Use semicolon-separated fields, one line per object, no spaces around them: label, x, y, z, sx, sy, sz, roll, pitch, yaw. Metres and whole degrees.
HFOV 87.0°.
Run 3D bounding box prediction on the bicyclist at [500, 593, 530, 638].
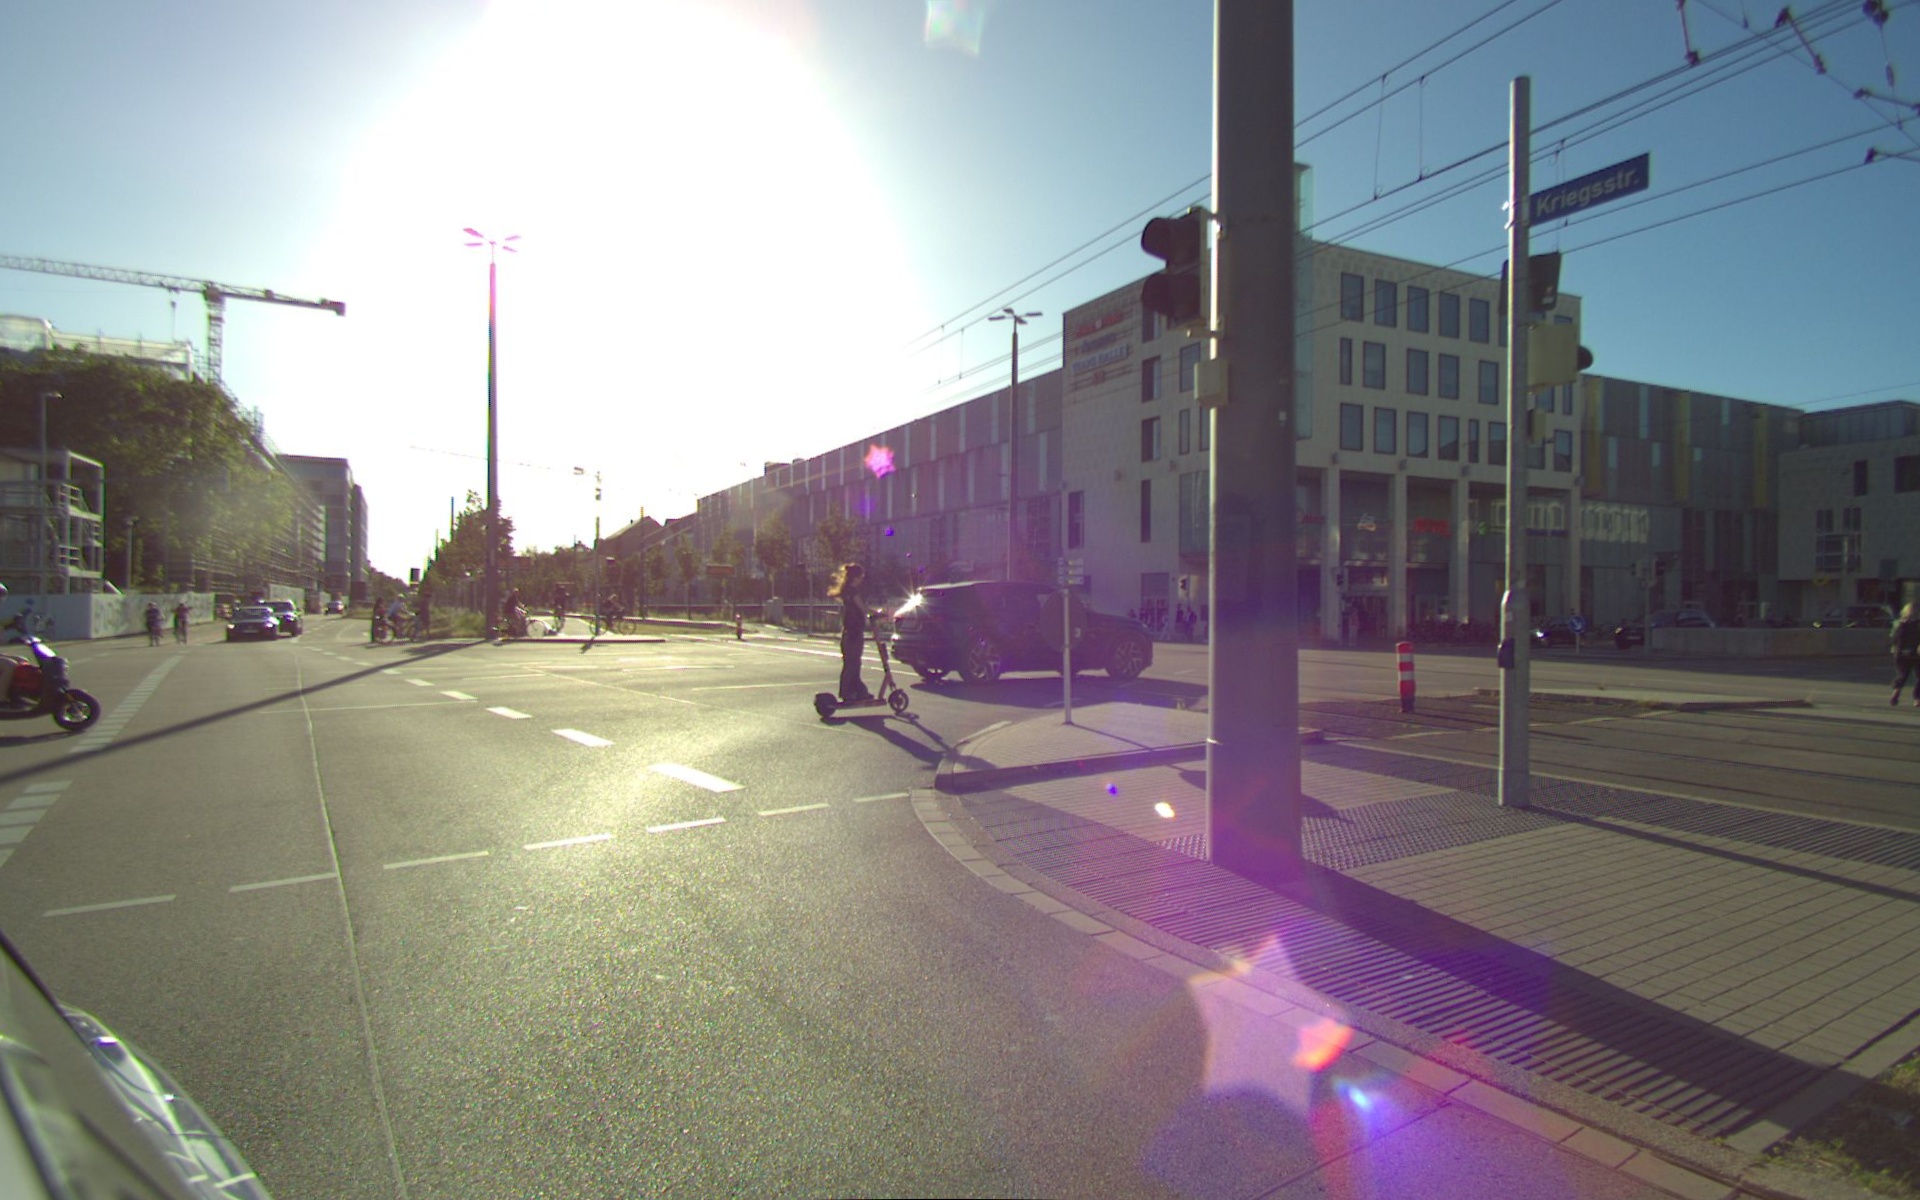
bicyclist;-15.702;0.524;35.719;0.925;1.556;0.651;0;0;-28

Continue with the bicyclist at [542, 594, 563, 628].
bicyclist;-18.445;0.504;45.808;0.743;1.516;0.619;0;0;-34

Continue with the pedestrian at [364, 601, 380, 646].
pedestrian;-21.096;0.829;36.299;0.443;1.578;0.521;0;0;-24

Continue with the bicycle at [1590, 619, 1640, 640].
bicycle;37.704;1.676;58.333;0.649;1.119;2.484;0;0;-22

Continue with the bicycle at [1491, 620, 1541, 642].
bicycle;29.698;1.630;54.097;0.583;1.119;2.484;0;0;-22

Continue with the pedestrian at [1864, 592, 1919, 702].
pedestrian;14.066;0.666;14.877;0.908;1.561;0.901;-2;0;-30

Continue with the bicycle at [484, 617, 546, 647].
bicycle;-15.694;1.110;35.710;1.944;1.004;0.651;-1;0;-28

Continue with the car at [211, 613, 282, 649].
car;-30.121;1.280;42.851;1.965;1.386;4.013;-1;0;-28

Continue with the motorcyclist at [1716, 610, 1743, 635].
motorcyclist;46.738;1.351;61.482;0.900;1.482;1.043;0;1;-30

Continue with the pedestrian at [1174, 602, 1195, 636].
pedestrian;10.510;0.888;47.383;0.937;1.583;0.837;0;0;17

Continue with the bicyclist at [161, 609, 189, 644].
bicyclist;-30.849;1.038;39.784;0.792;1.307;0.779;-1;0;-32

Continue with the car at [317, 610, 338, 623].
car;-68.818;1.770;110.146;1.755;1.335;4.013;0;1;-29

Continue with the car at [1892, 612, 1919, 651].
car;44.784;1.414;45.545;5.391;1.705;2.188;1;0;-24

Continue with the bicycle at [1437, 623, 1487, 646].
bicycle;25.973;1.767;52.415;0.672;1.119;2.484;0;0;-21

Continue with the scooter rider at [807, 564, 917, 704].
scooter rider;-1.145;0.377;11.776;1.098;1.555;0.646;0;1;-27

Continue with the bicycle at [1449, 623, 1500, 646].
bicycle;26.738;1.757;52.645;0.672;1.119;2.484;0;0;-22

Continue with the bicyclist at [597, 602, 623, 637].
bicyclist;-13.896;0.754;40.180;0.827;1.367;0.808;-1;0;-32

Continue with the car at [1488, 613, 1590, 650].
car;26.350;1.383;46.030;4.219;1.593;1.950;0;0;-25

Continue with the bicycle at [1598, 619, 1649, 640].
bicycle;38.350;1.688;58.529;0.649;1.119;2.484;0;0;-22

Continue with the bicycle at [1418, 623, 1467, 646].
bicycle;24.726;1.761;51.917;0.672;1.119;2.484;0;0;-23

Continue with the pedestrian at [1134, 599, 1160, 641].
pedestrian;9.606;1.004;52.047;0.932;2.140;0.900;1;0;-39

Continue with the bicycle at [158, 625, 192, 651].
bicycle;-30.840;1.475;39.777;0.792;0.934;2.083;-1;0;-31

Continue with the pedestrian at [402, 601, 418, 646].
pedestrian;-19.769;0.842;36.397;0.443;1.578;0.521;0;0;-24

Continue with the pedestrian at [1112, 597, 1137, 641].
pedestrian;8.159;0.949;50.181;0.895;2.140;0.937;0;0;32

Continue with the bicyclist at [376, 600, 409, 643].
bicyclist;-18.845;0.699;33.611;0.828;1.412;0.808;-1;0;-22

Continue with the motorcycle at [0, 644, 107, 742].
motorcycle;-10.509;1.001;10.886;1.926;0.976;0.760;0;1;-30

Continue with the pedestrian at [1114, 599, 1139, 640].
pedestrian;8.777;1.028;53.435;0.931;2.140;0.901;0;0;-31

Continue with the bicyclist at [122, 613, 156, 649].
bicyclist;-30.281;1.149;37.349;0.627;1.280;0.807;-1;0;-8

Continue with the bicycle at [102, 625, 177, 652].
bicycle;-30.261;1.419;37.340;2.044;0.934;0.807;-1;0;-7

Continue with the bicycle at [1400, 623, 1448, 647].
bicycle;23.525;1.766;51.364;0.646;1.121;2.418;0;0;-24

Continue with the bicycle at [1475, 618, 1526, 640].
bicycle;28.410;1.510;53.212;0.672;1.119;2.484;0;0;-22

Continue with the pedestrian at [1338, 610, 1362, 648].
pedestrian;18.228;1.363;47.274;0.743;1.753;0.755;0;0;-26

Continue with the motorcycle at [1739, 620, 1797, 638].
motorcycle;49.961;1.784;62.608;0.900;1.003;2.685;0;1;-30

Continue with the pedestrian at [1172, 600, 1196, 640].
pedestrian;11.455;1.003;51.737;0.913;2.029;1.013;0;0;30

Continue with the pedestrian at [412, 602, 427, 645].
pedestrian;-19.976;0.856;37.438;0.443;1.578;0.521;0;0;-24

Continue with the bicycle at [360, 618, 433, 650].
bicycle;-18.720;1.130;33.662;2.041;0.986;0.808;-1;0;-22

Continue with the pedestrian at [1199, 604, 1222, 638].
pedestrian;12.334;1.028;49.813;1.001;1.663;0.941;0;0;22

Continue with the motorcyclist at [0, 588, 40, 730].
motorcyclist;-10.553;0.620;10.851;0.866;1.495;0.760;0;0;-30

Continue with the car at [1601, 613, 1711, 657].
car;28.280;1.366;41.084;4.220;1.690;1.950;0;0;-28

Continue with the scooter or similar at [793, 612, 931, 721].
scooter or similar;-1.143;0.740;11.775;1.458;1.184;0.646;0;1;-27

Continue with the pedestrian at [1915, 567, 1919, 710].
pedestrian;12.368;0.469;12.358;0.727;1.757;0.861;-1;0;-31

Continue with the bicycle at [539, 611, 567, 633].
bicycle;-18.434;0.980;45.805;0.743;0.948;2.401;0;0;-34

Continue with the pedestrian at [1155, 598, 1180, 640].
pedestrian;10.841;0.977;52.980;0.932;2.140;0.900;1;0;-39

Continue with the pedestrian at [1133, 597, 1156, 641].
pedestrian;9.048;0.937;49.569;0.894;2.140;0.938;0;0;27

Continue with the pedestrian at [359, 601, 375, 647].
pedestrian;-20.922;0.843;35.700;0.443;1.578;0.521;0;0;-24

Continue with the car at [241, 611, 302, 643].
car;-32.713;1.261;48.165;1.965;1.386;4.013;-1;0;-28

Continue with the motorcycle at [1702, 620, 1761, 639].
motorcycle;46.784;1.755;61.421;0.900;1.003;2.685;0;1;-30

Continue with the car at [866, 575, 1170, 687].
car;1.008;0.461;17.231;4.709;1.675;2.208;0;0;-28

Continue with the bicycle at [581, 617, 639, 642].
bicycle;-13.881;1.165;40.183;2.042;0.934;0.808;-1;0;-32

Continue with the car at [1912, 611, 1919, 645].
car;51.437;1.471;51.939;5.519;1.705;2.188;1;0;-29

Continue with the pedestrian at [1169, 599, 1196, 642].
pedestrian;11.116;1.008;50.543;1.058;2.145;1.088;0;0;27
